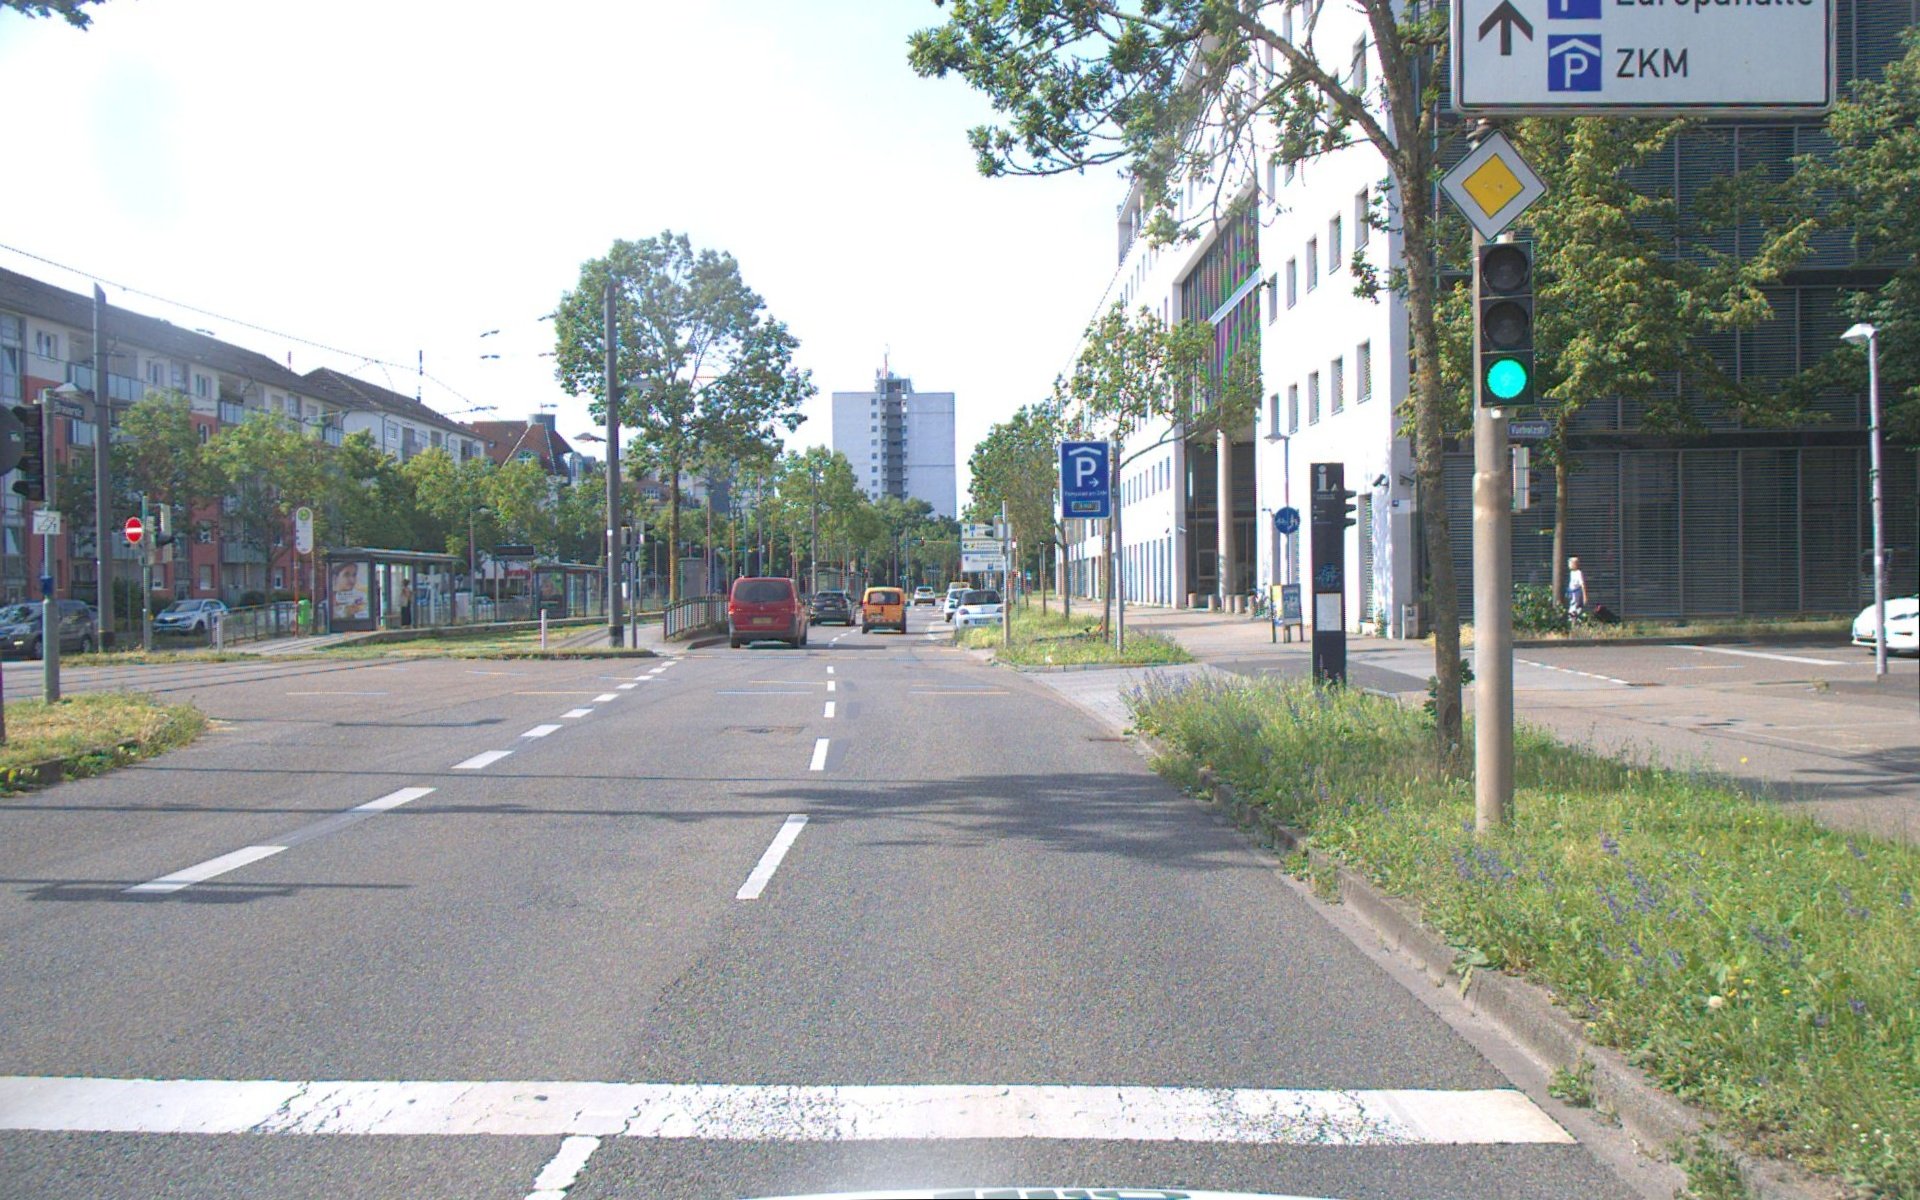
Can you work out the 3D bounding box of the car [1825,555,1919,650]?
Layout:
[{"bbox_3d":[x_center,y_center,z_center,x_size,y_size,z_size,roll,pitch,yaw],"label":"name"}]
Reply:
[{"bbox_3d":[16.881,-0.018,27.268,4.232,1.490,1.901,-1,1,-1],"label":"car"}]

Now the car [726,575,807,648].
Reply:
[{"bbox_3d":[-5.261,0.297,45.365,1.836,1.886,3.999,-1,0,-2],"label":"car"}]

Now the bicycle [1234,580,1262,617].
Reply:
[{"bbox_3d":[8.881,-0.056,51.026,0.484,1.105,1.549,-3,0,-3],"label":"bicycle"}]

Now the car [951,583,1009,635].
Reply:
[{"bbox_3d":[0.595,0.277,52.463,1.685,1.545,3.780,-1,0,-1],"label":"car"}]

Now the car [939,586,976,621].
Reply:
[{"bbox_3d":[-0.119,0.162,78.551,1.654,1.552,3.850,-3,0,0],"label":"car"}]

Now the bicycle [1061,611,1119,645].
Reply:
[{"bbox_3d":[3.027,0.650,38.415,1.244,0.643,0.521,-7,-1,7],"label":"bicycle"}]

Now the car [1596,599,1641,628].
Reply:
[{"bbox_3d":[14.069,0.296,35.359,0.750,0.598,0.498,-1,0,-3],"label":"car"}]

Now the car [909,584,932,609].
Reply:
[{"bbox_3d":[-3.368,-0.328,141.494,1.953,2.049,3.999,-1,0,-1],"label":"car"}]

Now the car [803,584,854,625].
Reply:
[{"bbox_3d":[-5.760,0.197,72.882,1.953,1.735,4.000,-1,0,0],"label":"car"}]

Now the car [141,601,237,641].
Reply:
[{"bbox_3d":[-32.318,0.844,69.447,1.940,1.583,4.536,1,0,-1],"label":"car"}]

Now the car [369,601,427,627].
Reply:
[{"bbox_3d":[-31.981,0.791,94.204,1.940,1.384,4.068,1,0,-1],"label":"car"}]

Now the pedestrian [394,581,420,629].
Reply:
[{"bbox_3d":[-19.397,0.177,58.055,0.658,1.682,0.794,-1,0,-5],"label":"pedestrian"}]

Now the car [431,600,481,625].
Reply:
[{"bbox_3d":[-31.931,0.766,104.911,1.940,1.540,4.280,1,0,-1],"label":"car"}]

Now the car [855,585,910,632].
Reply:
[{"bbox_3d":[-2.890,0.294,62.547,1.837,1.726,3.973,-1,0,0],"label":"car"}]

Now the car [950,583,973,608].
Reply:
[{"bbox_3d":[0.108,-0.392,142.511,1.953,2.049,4.000,-1,0,0],"label":"car"}]

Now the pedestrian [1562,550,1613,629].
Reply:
[{"bbox_3d":[13.314,-0.214,35.111,0.761,1.644,0.713,-1,0,-2],"label":"pedestrian"}]

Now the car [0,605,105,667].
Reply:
[{"bbox_3d":[-27.779,1.036,49.408,1.952,1.736,4.713,-1,0,0],"label":"car"}]

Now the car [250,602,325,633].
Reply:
[{"bbox_3d":[-32.181,0.823,79.251,1.940,1.384,4.068,1,0,-1],"label":"car"}]

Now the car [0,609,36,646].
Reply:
[{"bbox_3d":[-31.978,0.885,53.584,1.796,1.168,4.164,1,0,-1],"label":"car"}]

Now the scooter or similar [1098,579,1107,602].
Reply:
[{"bbox_3d":[8.206,-0.549,94.906,0.452,1.234,1.255,-2,0,6],"label":"scooter or similar"}]
